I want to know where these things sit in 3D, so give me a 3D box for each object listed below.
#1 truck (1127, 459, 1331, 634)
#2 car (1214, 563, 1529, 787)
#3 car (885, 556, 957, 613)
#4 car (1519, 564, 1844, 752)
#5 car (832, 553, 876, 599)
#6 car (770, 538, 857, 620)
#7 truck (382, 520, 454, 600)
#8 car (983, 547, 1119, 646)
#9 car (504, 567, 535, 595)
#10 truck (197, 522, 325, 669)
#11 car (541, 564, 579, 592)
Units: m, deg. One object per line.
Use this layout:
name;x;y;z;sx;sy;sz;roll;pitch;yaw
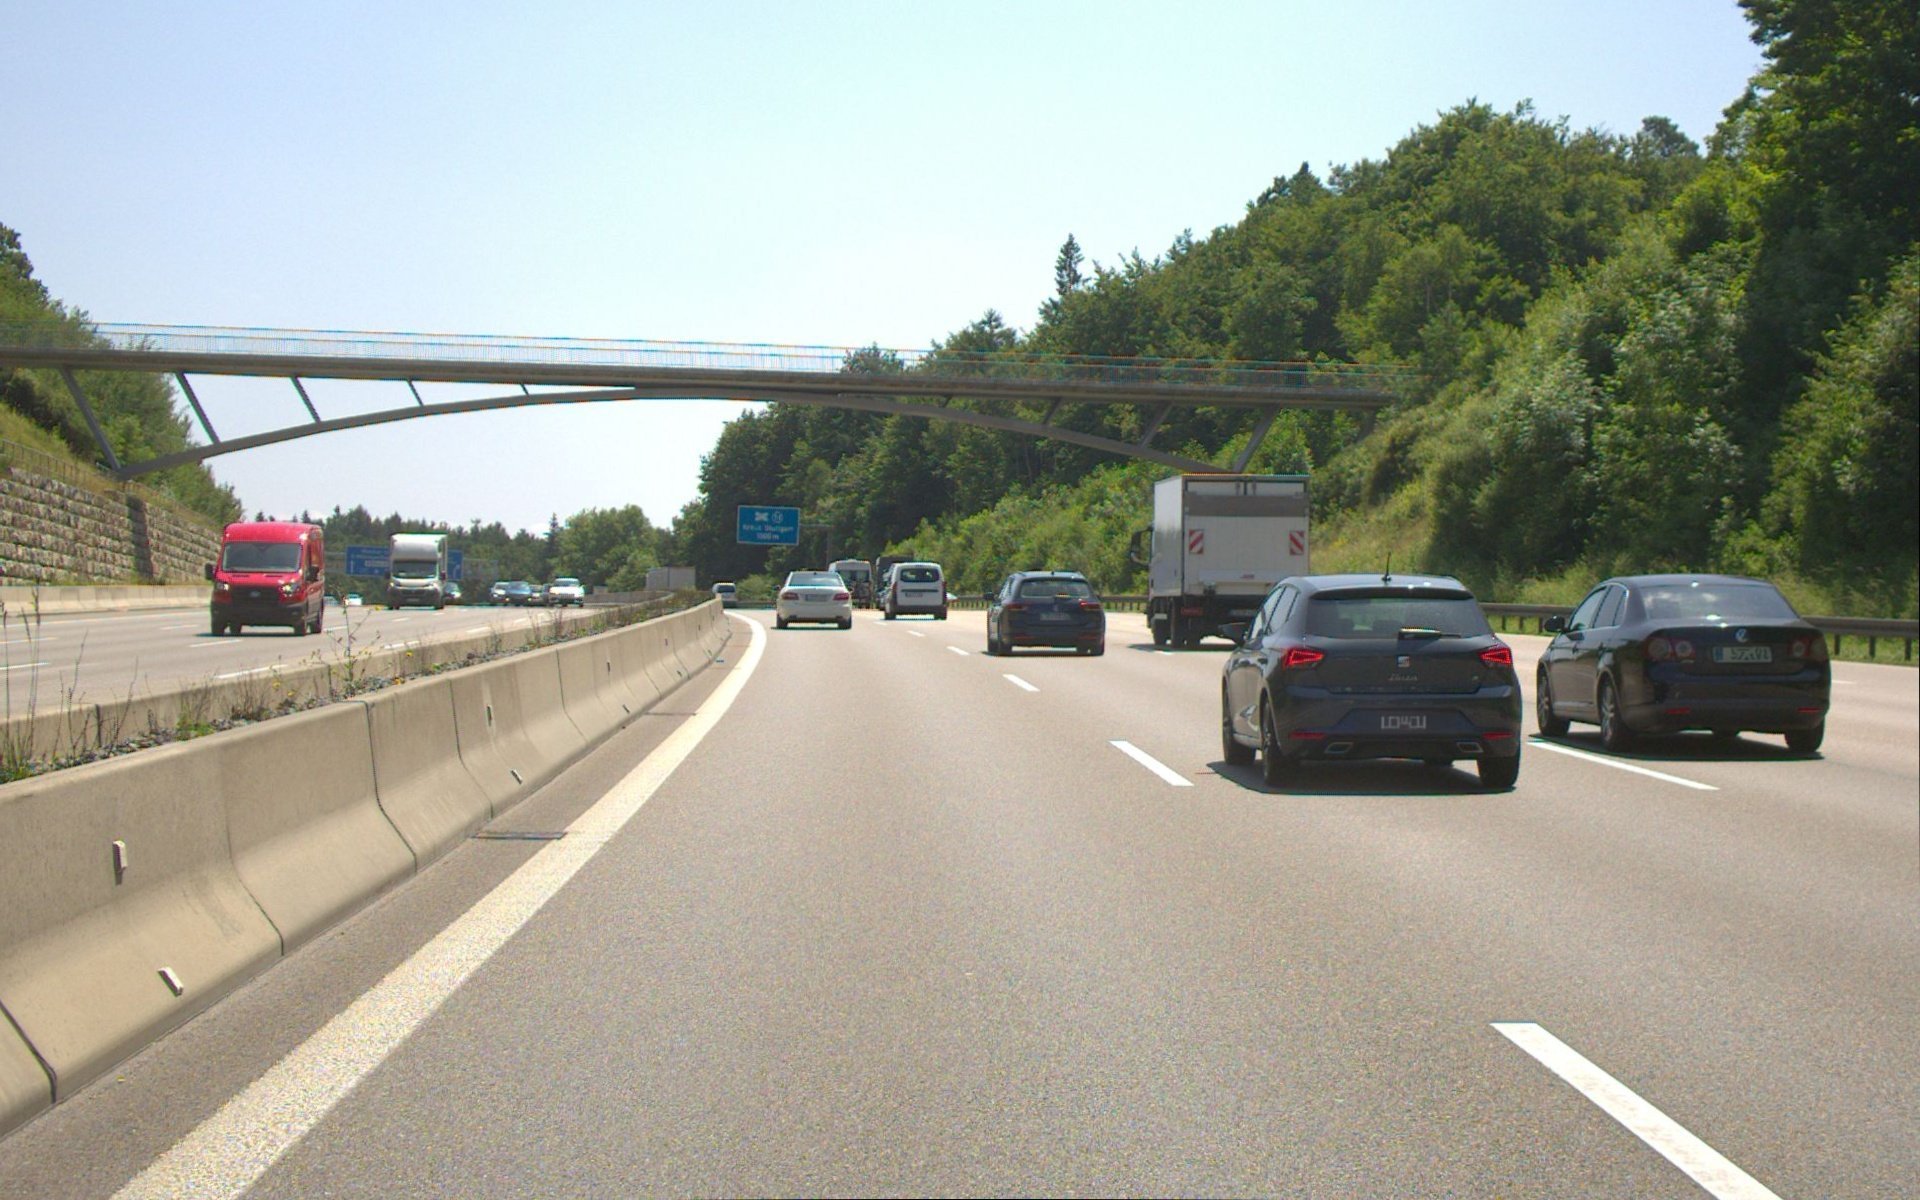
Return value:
truck;5.074;-1.017;66.226;2.985;3.156;7.575;0;1;-3
car;2.817;0.470;24.306;1.708;1.428;4.000;1;0;0
car;-1.276;-0.520;109.256;2.103;1.738;4.688;0;1;-3
car;5.942;0.420;28.863;1.665;1.404;4.903;1;1;0
car;-5.639;-1.260;182.653;2.265;2.363;4.702;0;0;-2
car;-3.737;-0.507;86.908;2.012;1.839;4.000;1;-3;-5
truck;-22.031;-1.636;139.972;2.276;3.132;6.920;2;1;-5
car;1.523;-0.096;59.430;1.993;1.628;4.760;0;1;-3
car;-26.509;-1.131;206.970;1.653;1.545;4.001;2;2;-5
truck;-15.193;-0.167;75.067;2.110;2.966;7.016;1;2;-7
car;-22.096;-1.223;190.124;1.900;1.491;4.806;0;1;-5
